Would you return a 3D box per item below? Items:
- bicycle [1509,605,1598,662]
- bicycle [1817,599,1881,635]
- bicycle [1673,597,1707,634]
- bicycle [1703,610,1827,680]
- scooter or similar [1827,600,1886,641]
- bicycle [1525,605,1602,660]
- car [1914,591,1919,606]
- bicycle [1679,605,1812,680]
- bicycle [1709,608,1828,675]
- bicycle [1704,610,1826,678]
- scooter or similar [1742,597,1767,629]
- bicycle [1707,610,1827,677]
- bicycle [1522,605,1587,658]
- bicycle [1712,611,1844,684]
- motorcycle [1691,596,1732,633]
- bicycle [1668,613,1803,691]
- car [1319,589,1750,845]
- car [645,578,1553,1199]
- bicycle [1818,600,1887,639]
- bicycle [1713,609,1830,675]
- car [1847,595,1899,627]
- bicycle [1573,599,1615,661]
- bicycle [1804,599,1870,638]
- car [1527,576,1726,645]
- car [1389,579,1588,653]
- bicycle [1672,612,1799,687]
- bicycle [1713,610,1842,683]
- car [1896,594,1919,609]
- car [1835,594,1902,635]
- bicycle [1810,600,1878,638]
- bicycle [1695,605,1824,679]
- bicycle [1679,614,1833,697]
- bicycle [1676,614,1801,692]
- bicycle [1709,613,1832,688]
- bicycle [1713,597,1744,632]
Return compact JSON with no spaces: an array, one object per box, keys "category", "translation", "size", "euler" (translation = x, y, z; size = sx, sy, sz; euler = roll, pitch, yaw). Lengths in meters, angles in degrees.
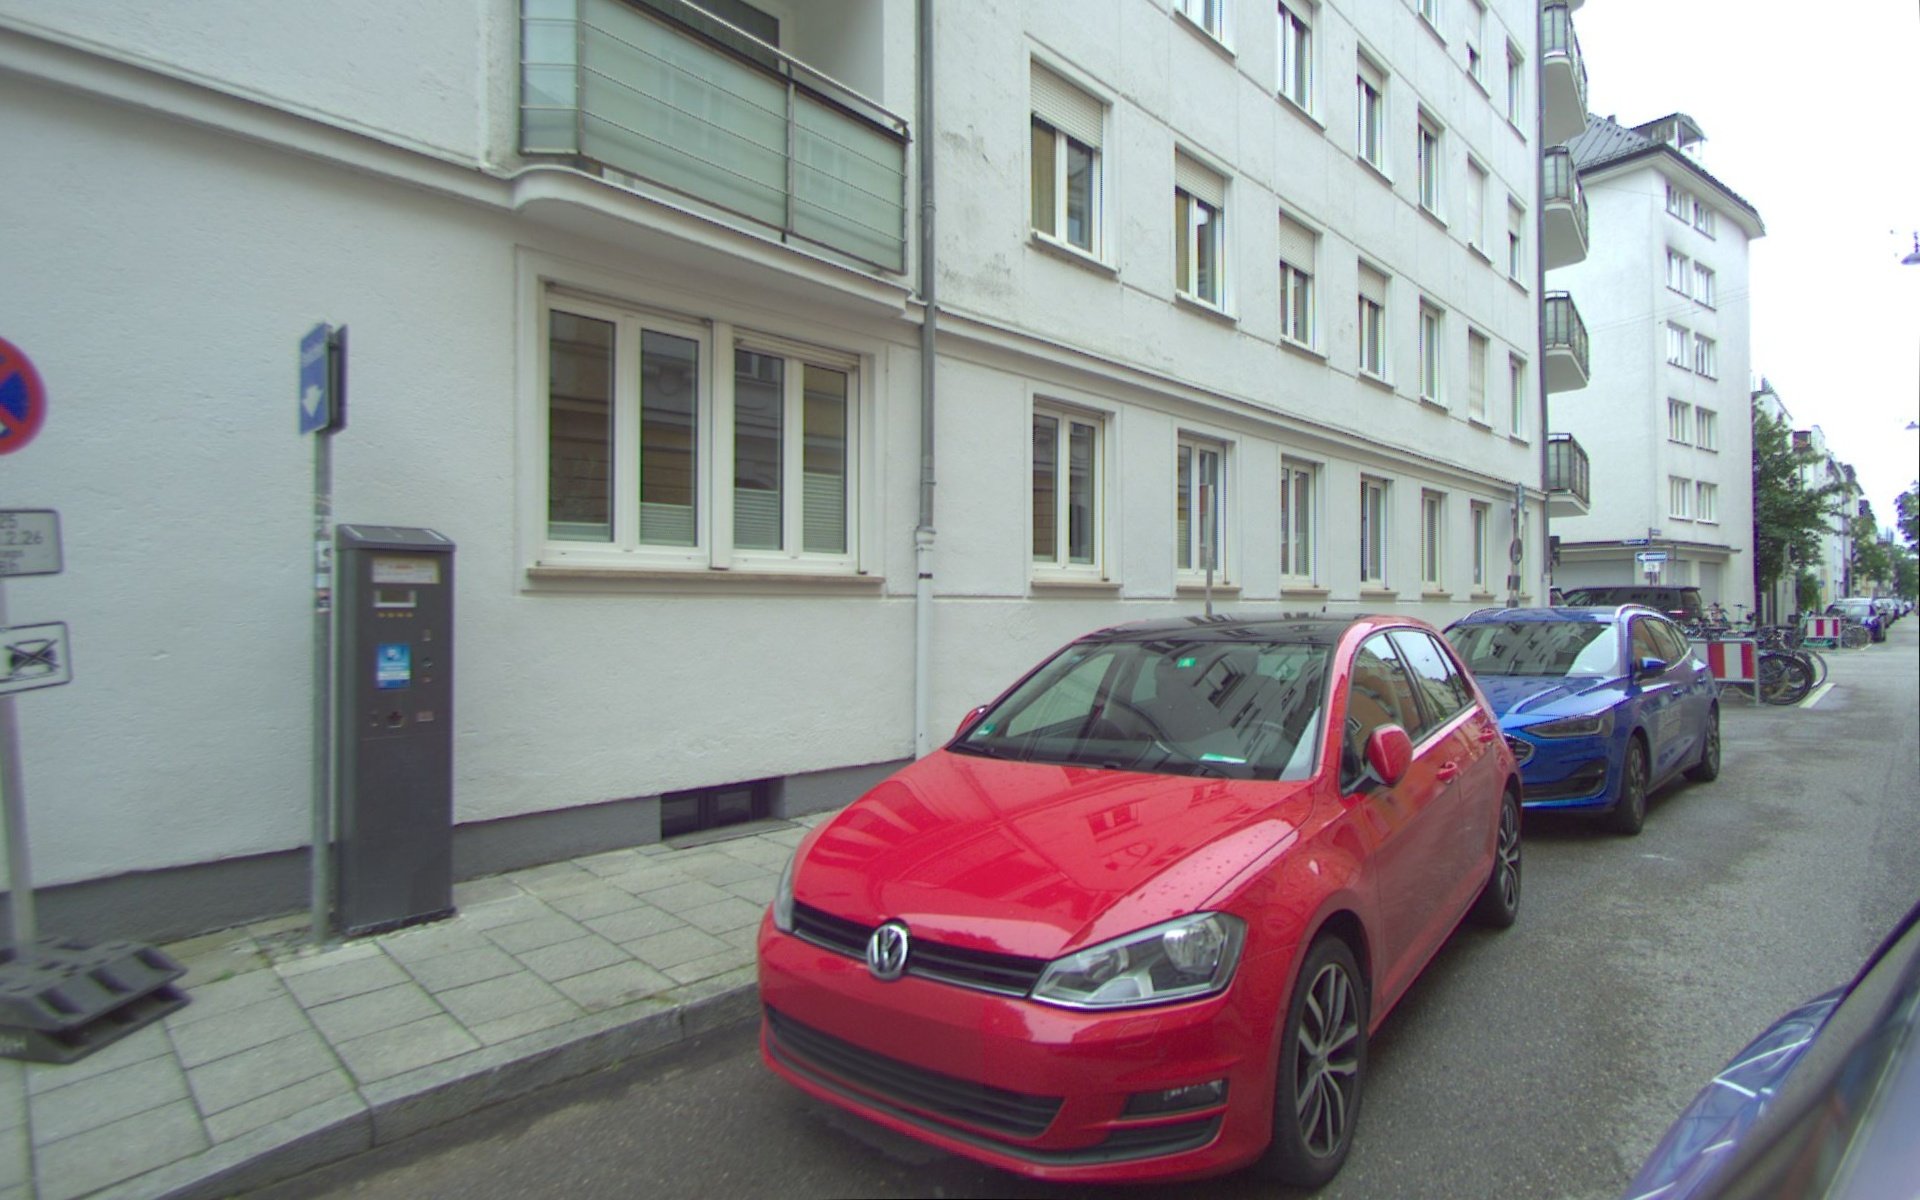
[{"category":"bicycle","translation":[11.851,0.650,20.246],"size":[1.487,1.056,0.395],"euler":[2,1,27]},{"category":"bicycle","translation":[30.767,0.578,35.031],"size":[0.520,1.229,1.606],"euler":[0,0,-42]},{"category":"bicycle","translation":[24.671,0.518,34.201],"size":[1.580,1.229,0.529],"euler":[0,0,-38]},{"category":"bicycle","translation":[14.270,0.773,17.972],"size":[1.695,1.175,0.372],"euler":[0,0,44]},{"category":"scooter or similar","translation":[27.650,0.621,31.218],"size":[0.339,1.229,1.339],"euler":[0,0,-42]},{"category":"bicycle","translation":[12.287,0.648,20.638],"size":[1.283,1.056,0.395],"euler":[2,1,27]},{"category":"car","translation":[130.684,-0.225,137.207],"size":[1.993,2.039,4.573],"euler":[-1,-1,44]},{"category":"bicycle","translation":[12.945,0.676,16.713],"size":[1.695,1.175,0.372],"euler":[0,0,44]},{"category":"bicycle","translation":[14.979,0.750,18.788],"size":[1.695,1.175,0.308],"euler":[0,0,44]},{"category":"bicycle","translation":[14.515,0.769,18.281],"size":[1.695,1.175,0.372],"euler":[0,0,44]},{"category":"scooter or similar","translation":[30.159,0.490,38.425],"size":[1.466,1.181,0.407],"euler":[0,0,-38]},{"category":"bicycle","translation":[14.761,0.772,18.548],"size":[1.695,1.175,0.308],"euler":[0,0,44]},{"category":"bicycle","translation":[12.486,0.657,21.286],"size":[1.117,1.056,0.395],"euler":[2,1,27]},{"category":"bicycle","translation":[13.790,0.775,17.099],"size":[1.695,1.175,0.372],"euler":[0,0,44]},{"category":"motorcycle","translation":[26.196,0.477,35.263],"size":[1.901,1.248,0.660],"euler":[0,0,-38]},{"category":"bicycle","translation":[11.834,0.765,15.497],"size":[0.317,1.056,1.592],"euler":[0,2,-36]},{"category":"car","translation":[4.675,0.681,7.922],"size":[4.311,1.457,1.795],"euler":[0,-2,-45]},{"category":"car","translation":[1.057,0.716,4.133],"size":[1.757,1.465,4.239],"euler":[-2,-2,38]},{"category":"bicycle","translation":[28.513,0.609,32.341],"size":[0.520,1.229,1.606],"euler":[0,0,-42]},{"category":"bicycle","translation":[15.264,0.766,19.068],"size":[1.695,1.175,0.412],"euler":[0,0,44]},{"category":"car","translation":[42.907,0.483,47.524],"size":[1.650,1.416,3.936],"euler":[0,0,44]},{"category":"bicycle","translation":[13.338,0.612,21.331],"size":[0.394,1.219,1.496],"euler":[1,2,19]},{"category":"bicycle","translation":[28.981,0.598,33.455],"size":[0.520,1.229,1.606],"euler":[0,0,-42]},{"category":"car","translation":[20.013,0.286,30.583],"size":[1.898,1.915,4.680],"euler":[1,0,-37]},{"category":"car","translation":[14.764,0.402,28.492],"size":[1.898,1.896,4.618],"euler":[0,0,-37]},{"category":"bicycle","translation":[12.170,0.759,15.928],"size":[0.353,1.056,1.522],"euler":[0,2,-37]},{"category":"bicycle","translation":[14.034,0.772,17.410],"size":[1.695,1.175,0.372],"euler":[0,0,44]},{"category":"car","translation":[96.427,0.149,102.996],"size":[1.650,1.416,3.936],"euler":[0,0,44]},{"category":"car","translation":[33.016,0.496,36.742],"size":[1.650,1.416,3.936],"euler":[0,0,44]},{"category":"bicycle","translation":[28.740,0.604,32.912],"size":[0.520,1.229,1.606],"euler":[0,0,-42]},{"category":"bicycle","translation":[13.327,0.668,16.902],"size":[1.662,1.175,0.372],"euler":[0,0,44]},{"category":"bicycle","translation":[11.504,0.774,14.673],"size":[0.354,1.056,1.704],"euler":[0,2,-44]},{"category":"bicycle","translation":[11.647,0.768,15.179],"size":[0.324,1.056,1.440],"euler":[0,2,-37]},{"category":"bicycle","translation":[12.688,0.767,15.878],"size":[0.353,1.056,1.443],"euler":[0,2,-37]},{"category":"bicycle","translation":[27.771,0.523,36.562],"size":[1.580,1.229,0.529],"euler":[0,0,-38]}]
